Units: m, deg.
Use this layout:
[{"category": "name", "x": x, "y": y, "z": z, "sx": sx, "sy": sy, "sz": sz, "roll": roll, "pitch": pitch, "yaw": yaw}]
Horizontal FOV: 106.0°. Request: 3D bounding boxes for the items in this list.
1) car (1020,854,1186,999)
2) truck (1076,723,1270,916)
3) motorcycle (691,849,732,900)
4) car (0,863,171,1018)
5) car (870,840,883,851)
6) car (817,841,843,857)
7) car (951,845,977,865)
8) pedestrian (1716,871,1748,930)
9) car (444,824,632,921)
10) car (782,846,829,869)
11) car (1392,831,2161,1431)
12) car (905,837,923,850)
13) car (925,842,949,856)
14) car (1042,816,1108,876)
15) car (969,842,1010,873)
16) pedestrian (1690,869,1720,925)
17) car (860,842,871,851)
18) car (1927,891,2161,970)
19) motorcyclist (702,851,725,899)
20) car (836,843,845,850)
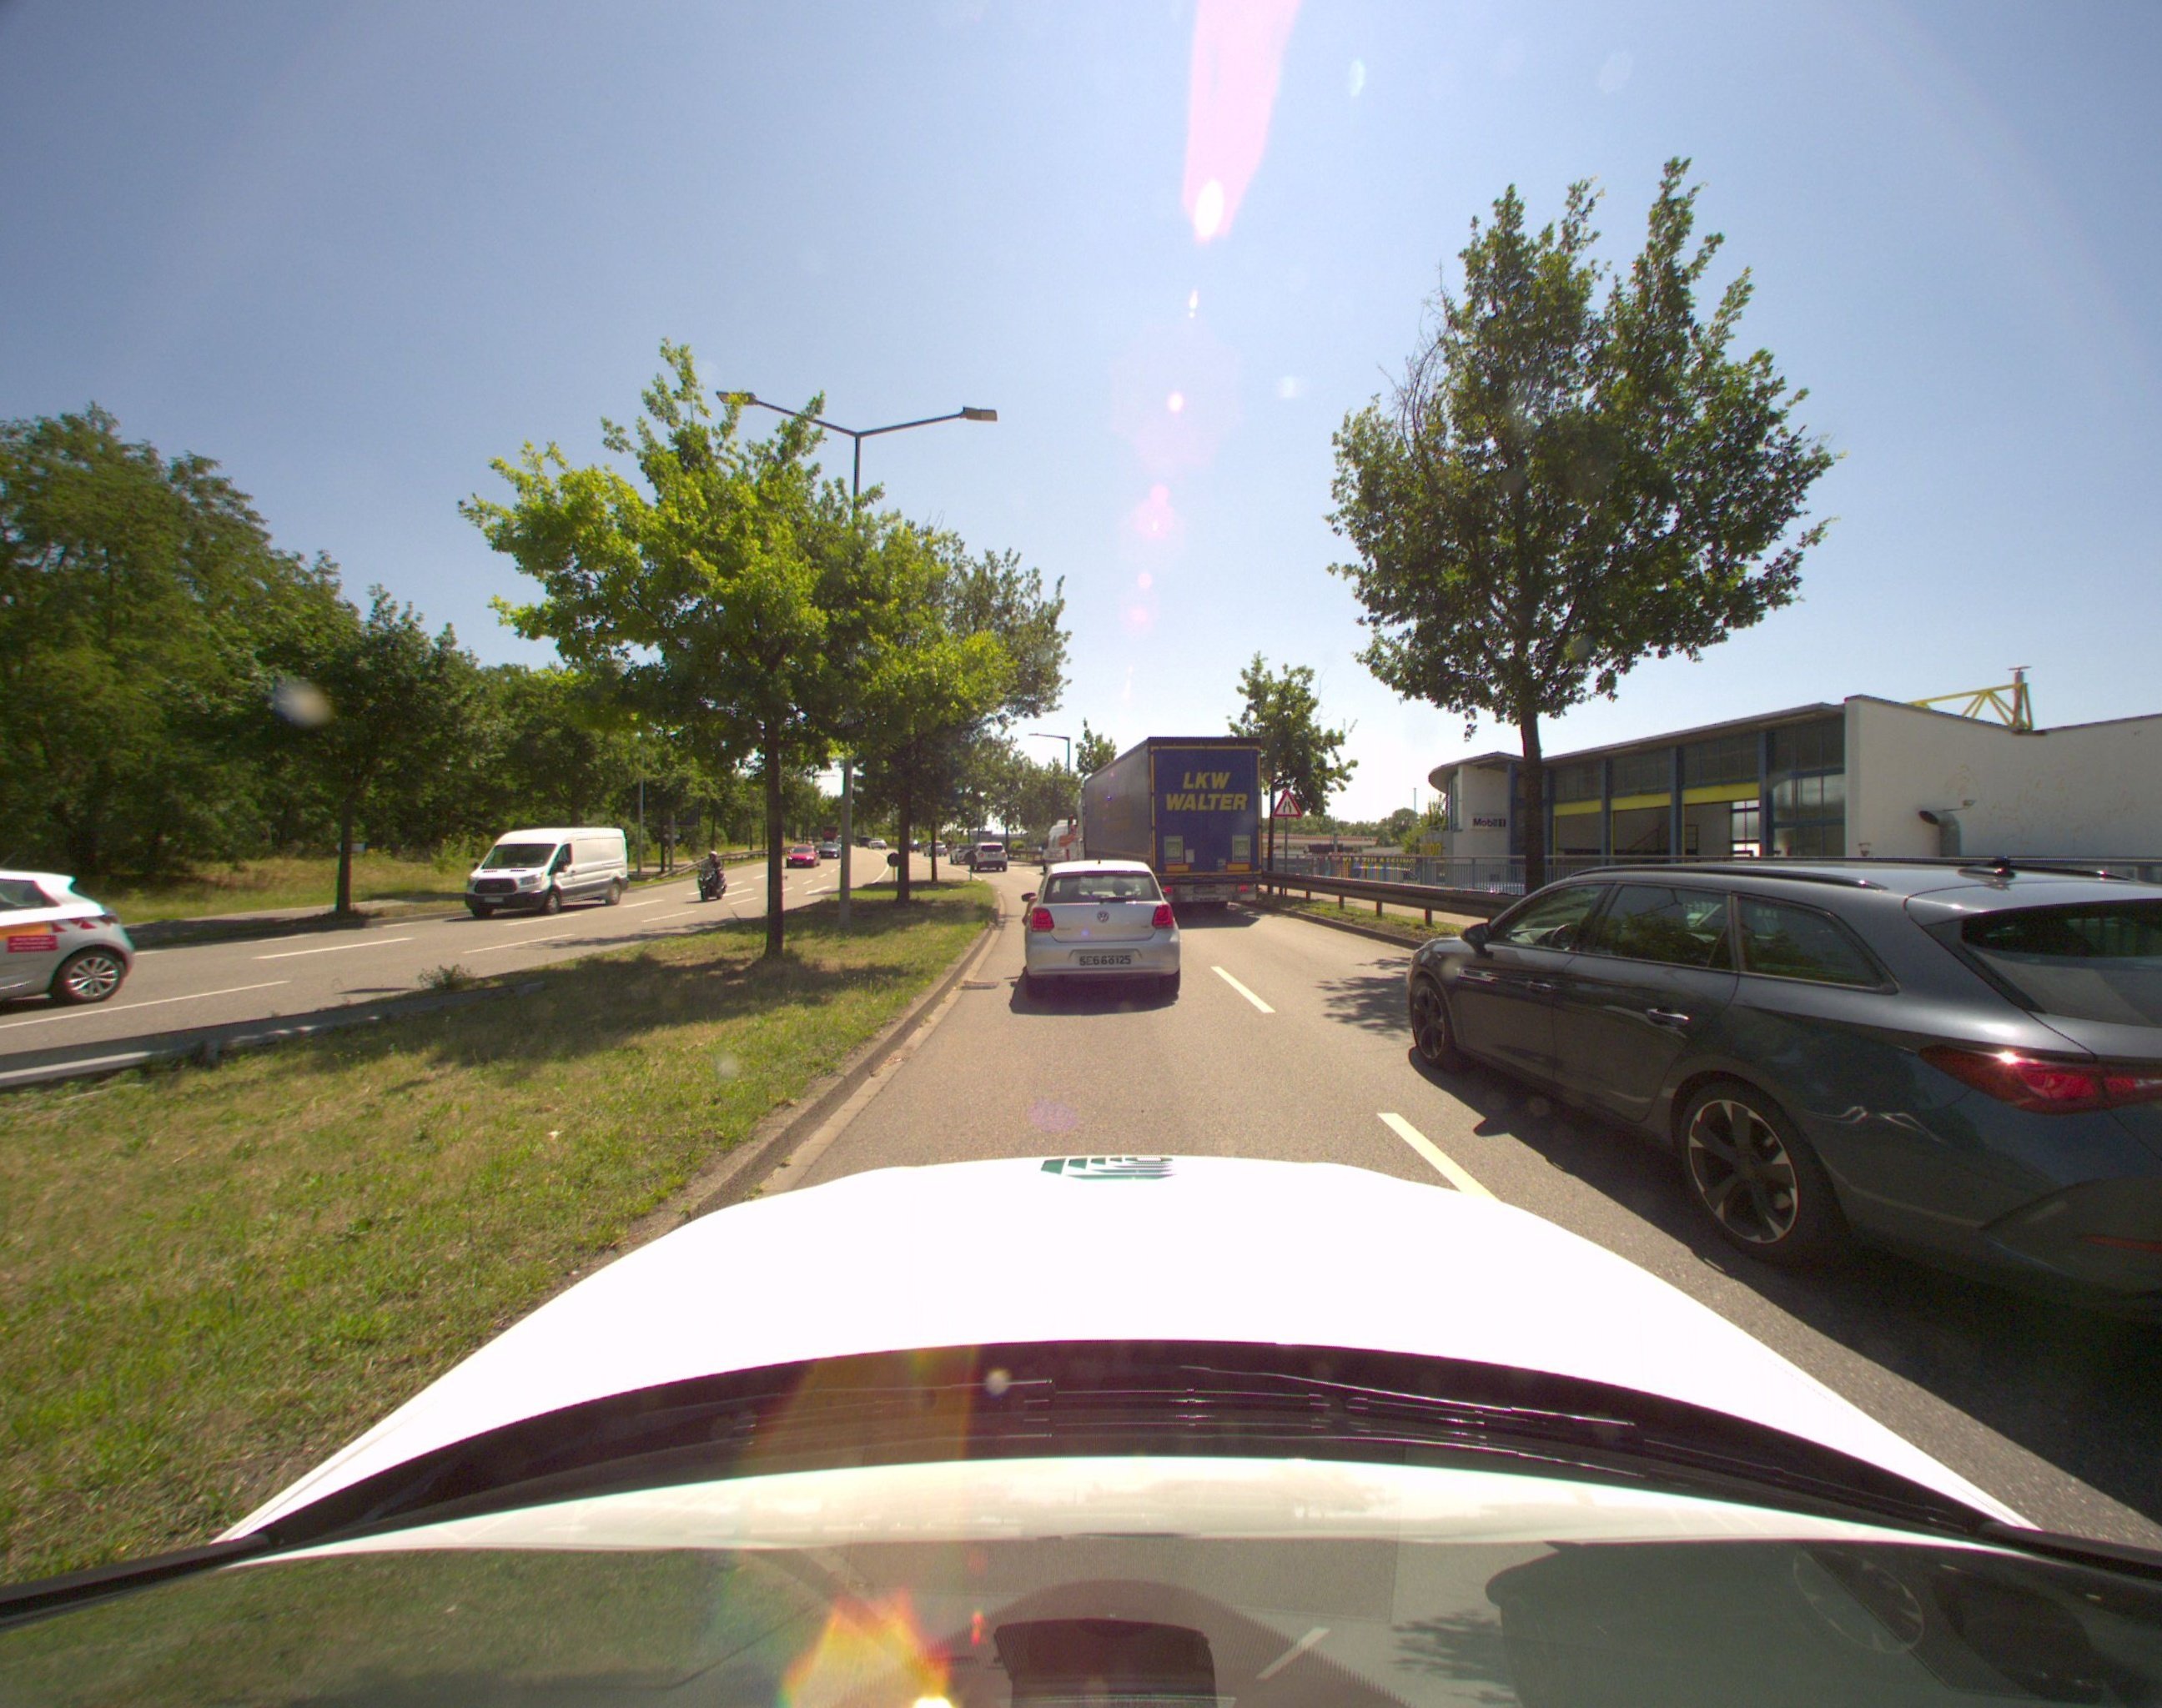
[{"category": "car", "x": 0.274, "y": 0.737, "z": 9.872, "sx": 1.640, "sy": 1.439, "sz": 3.538, "roll": 0, "pitch": -1, "yaw": 2}, {"category": "truck", "x": 1.984, "y": -0.783, "z": 26.073, "sx": 2.829, "sy": 4.198, "sz": 16.441, "roll": 0, "pitch": 0, "yaw": -6}, {"category": "motorcycle", "x": -12.581, "y": 0.677, "z": 27.777, "sx": 0.597, "sy": 1.678, "sz": 2.419, "roll": 0, "pitch": -1, "yaw": -7}, {"category": "car", "x": -11.891, "y": 0.914, "z": 7.851, "sx": 1.629, "sy": 1.567, "sz": 4.072, "roll": -1, "pitch": 0, "yaw": 0}, {"category": "car", "x": -26.366, "y": -1.039, "z": 105.171, "sx": 1.460, "sy": 1.314, "sz": 3.616, "roll": 0, "pitch": -1, "yaw": -17}, {"category": "car", "x": -22.065, "y": -0.402, "z": 71.641, "sx": 1.811, "sy": 1.333, "sz": 4.550, "roll": 0, "pitch": -1, "yaw": -12}, {"category": "car", "x": -8.457, "y": 0.055, "z": 58.601, "sx": 1.496, "sy": 1.360, "sz": 3.645, "roll": 0, "pitch": 0, "yaw": -14}, {"category": "pedestrian", "x": 19.105, "y": 1.343, "z": 23.912, "sx": 0.425, "sy": 1.703, "sz": 0.588, "roll": 0, "pitch": -1, "yaw": -5}, {"category": "car", "x": -15.883, "y": 0.429, "z": 24.341, "sx": 2.091, "sy": 2.500, "sz": 5.799, "roll": -1, "pitch": 1, "yaw": -5}, {"category": "car", "x": -18.778, "y": 0.247, "z": 55.781, "sx": 1.826, "sy": 1.437, "sz": 4.520, "roll": -2, "pitch": 0, "yaw": -3}, {"category": "car", "x": 3.202, "y": 0.688, "z": 4.127, "sx": 1.600, "sy": 1.456, "sz": 4.233, "roll": 0, "pitch": -1, "yaw": -1}, {"category": "car", "x": -19.092, "y": -1.159, "z": 92.799, "sx": 1.669, "sy": 1.465, "sz": 3.560, "roll": 0, "pitch": -1, "yaw": -17}, {"category": "car", "x": -13.950, "y": -0.490, "z": 78.662, "sx": 1.614, "sy": 1.360, "sz": 3.636, "roll": 0, "pitch": 0, "yaw": -21}, {"category": "car", "x": -0.423, "y": -0.438, "z": 42.640, "sx": 2.178, "sy": 2.900, "sz": 6.331, "roll": 0, "pitch": 1, "yaw": -13}, {"category": "car", "x": -5.463, "y": 0.227, "z": 48.260, "sx": 1.906, "sy": 1.718, "sz": 4.204, "roll": 0, "pitch": -1, "yaw": -13}, {"category": "pedestrian", "x": 19.010, "y": 1.304, "z": 24.814, "sx": 0.520, "sy": 1.703, "sz": 0.487, "roll": 0, "pitch": -1, "yaw": -4}, {"category": "car", "x": -30.828, "y": -1.082, "z": 116.444, "sx": 1.421, "sy": 1.314, "sz": 3.318, "roll": 0, "pitch": -1, "yaw": -17}, {"category": "car", "x": 20.514, "y": 1.474, "z": 16.046, "sx": 5.017, "sy": 1.358, "sz": 2.013, "roll": -1, "pitch": -1, "yaw": 34}, {"category": "motorcyclist", "x": -12.614, "y": 0.700, "z": 27.967, "sx": 0.586, "sy": 1.626, "sz": 0.561, "roll": 0, "pitch": -1, "yaw": -6}, {"category": "car", "x": -40.287, "y": -1.293, "z": 136.488, "sx": 1.325, "sy": 1.139, "sz": 2.977, "roll": 0, "pitch": -1, "yaw": -18}]
